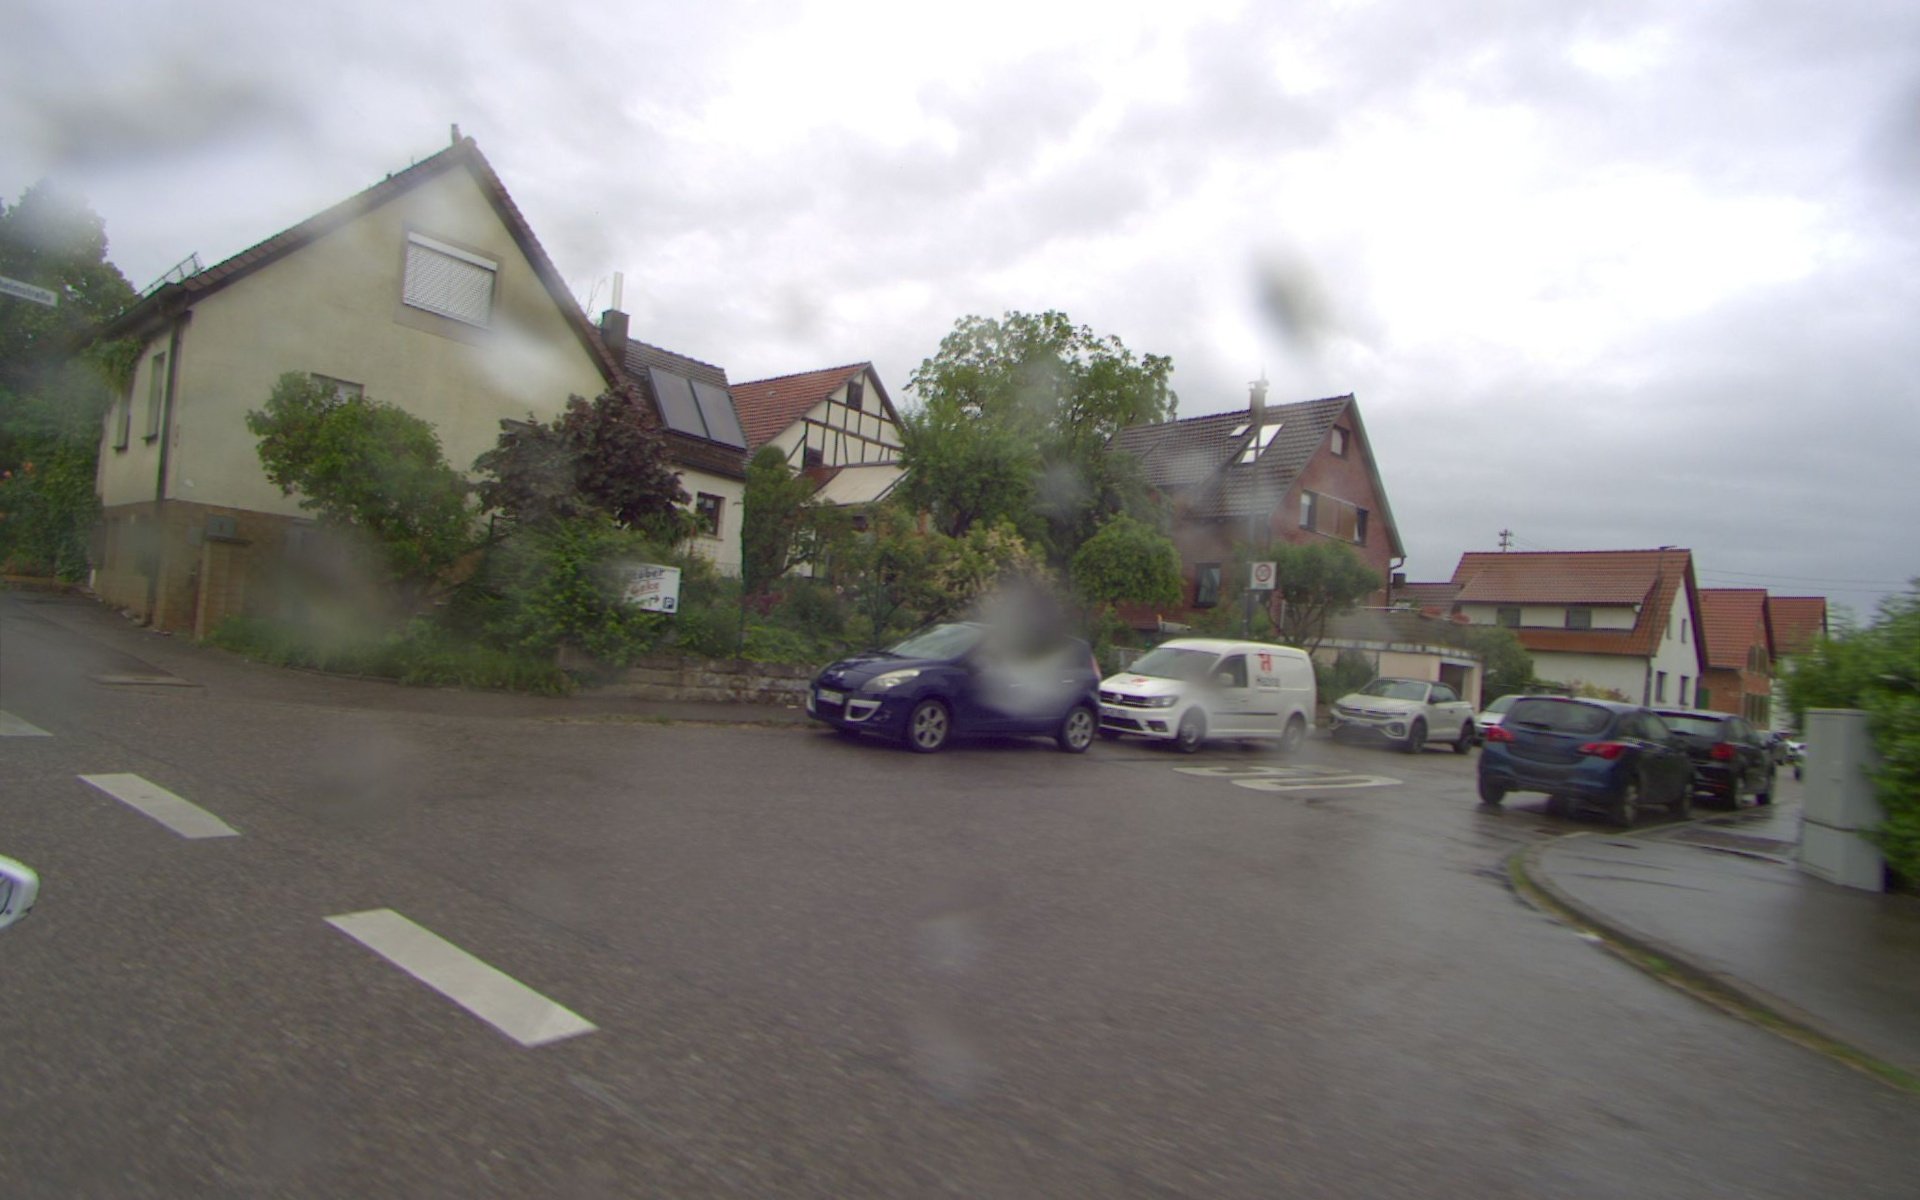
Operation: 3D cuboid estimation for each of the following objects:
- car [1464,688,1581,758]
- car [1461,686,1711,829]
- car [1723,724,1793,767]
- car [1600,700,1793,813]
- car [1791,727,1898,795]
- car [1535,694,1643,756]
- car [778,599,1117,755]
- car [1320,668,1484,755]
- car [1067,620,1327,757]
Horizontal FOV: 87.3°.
[{"bbox_3d":[14.942,3.281,26.675,3.390,1.525,1.647,9,-3,-42],"label":"car"},{"bbox_3d":[8.336,2.049,13.279,3.711,1.422,1.783,9,-3,-42],"label":"car"},{"bbox_3d":[34.851,6.374,43.920,3.918,1.525,1.726,9,-3,-42],"label":"car"},{"bbox_3d":[11.972,2.514,16.275,3.691,1.416,1.772,9,-3,-42],"label":"car"},{"bbox_3d":[24.432,4.428,27.734,3.918,1.525,1.726,9,-3,-42],"label":"car"},{"bbox_3d":[19.169,3.827,30.588,3.918,1.525,1.726,9,-3,-42],"label":"car"},{"bbox_3d":[-0.041,1.054,13.077,4.119,1.603,1.843,9,-3,-42],"label":"car"},{"bbox_3d":[9.632,2.443,21.799,3.918,1.525,1.726,9,-3,-42],"label":"car"},{"bbox_3d":[4.071,1.537,16.781,4.670,1.824,1.783,9,-3,-42],"label":"car"}]
